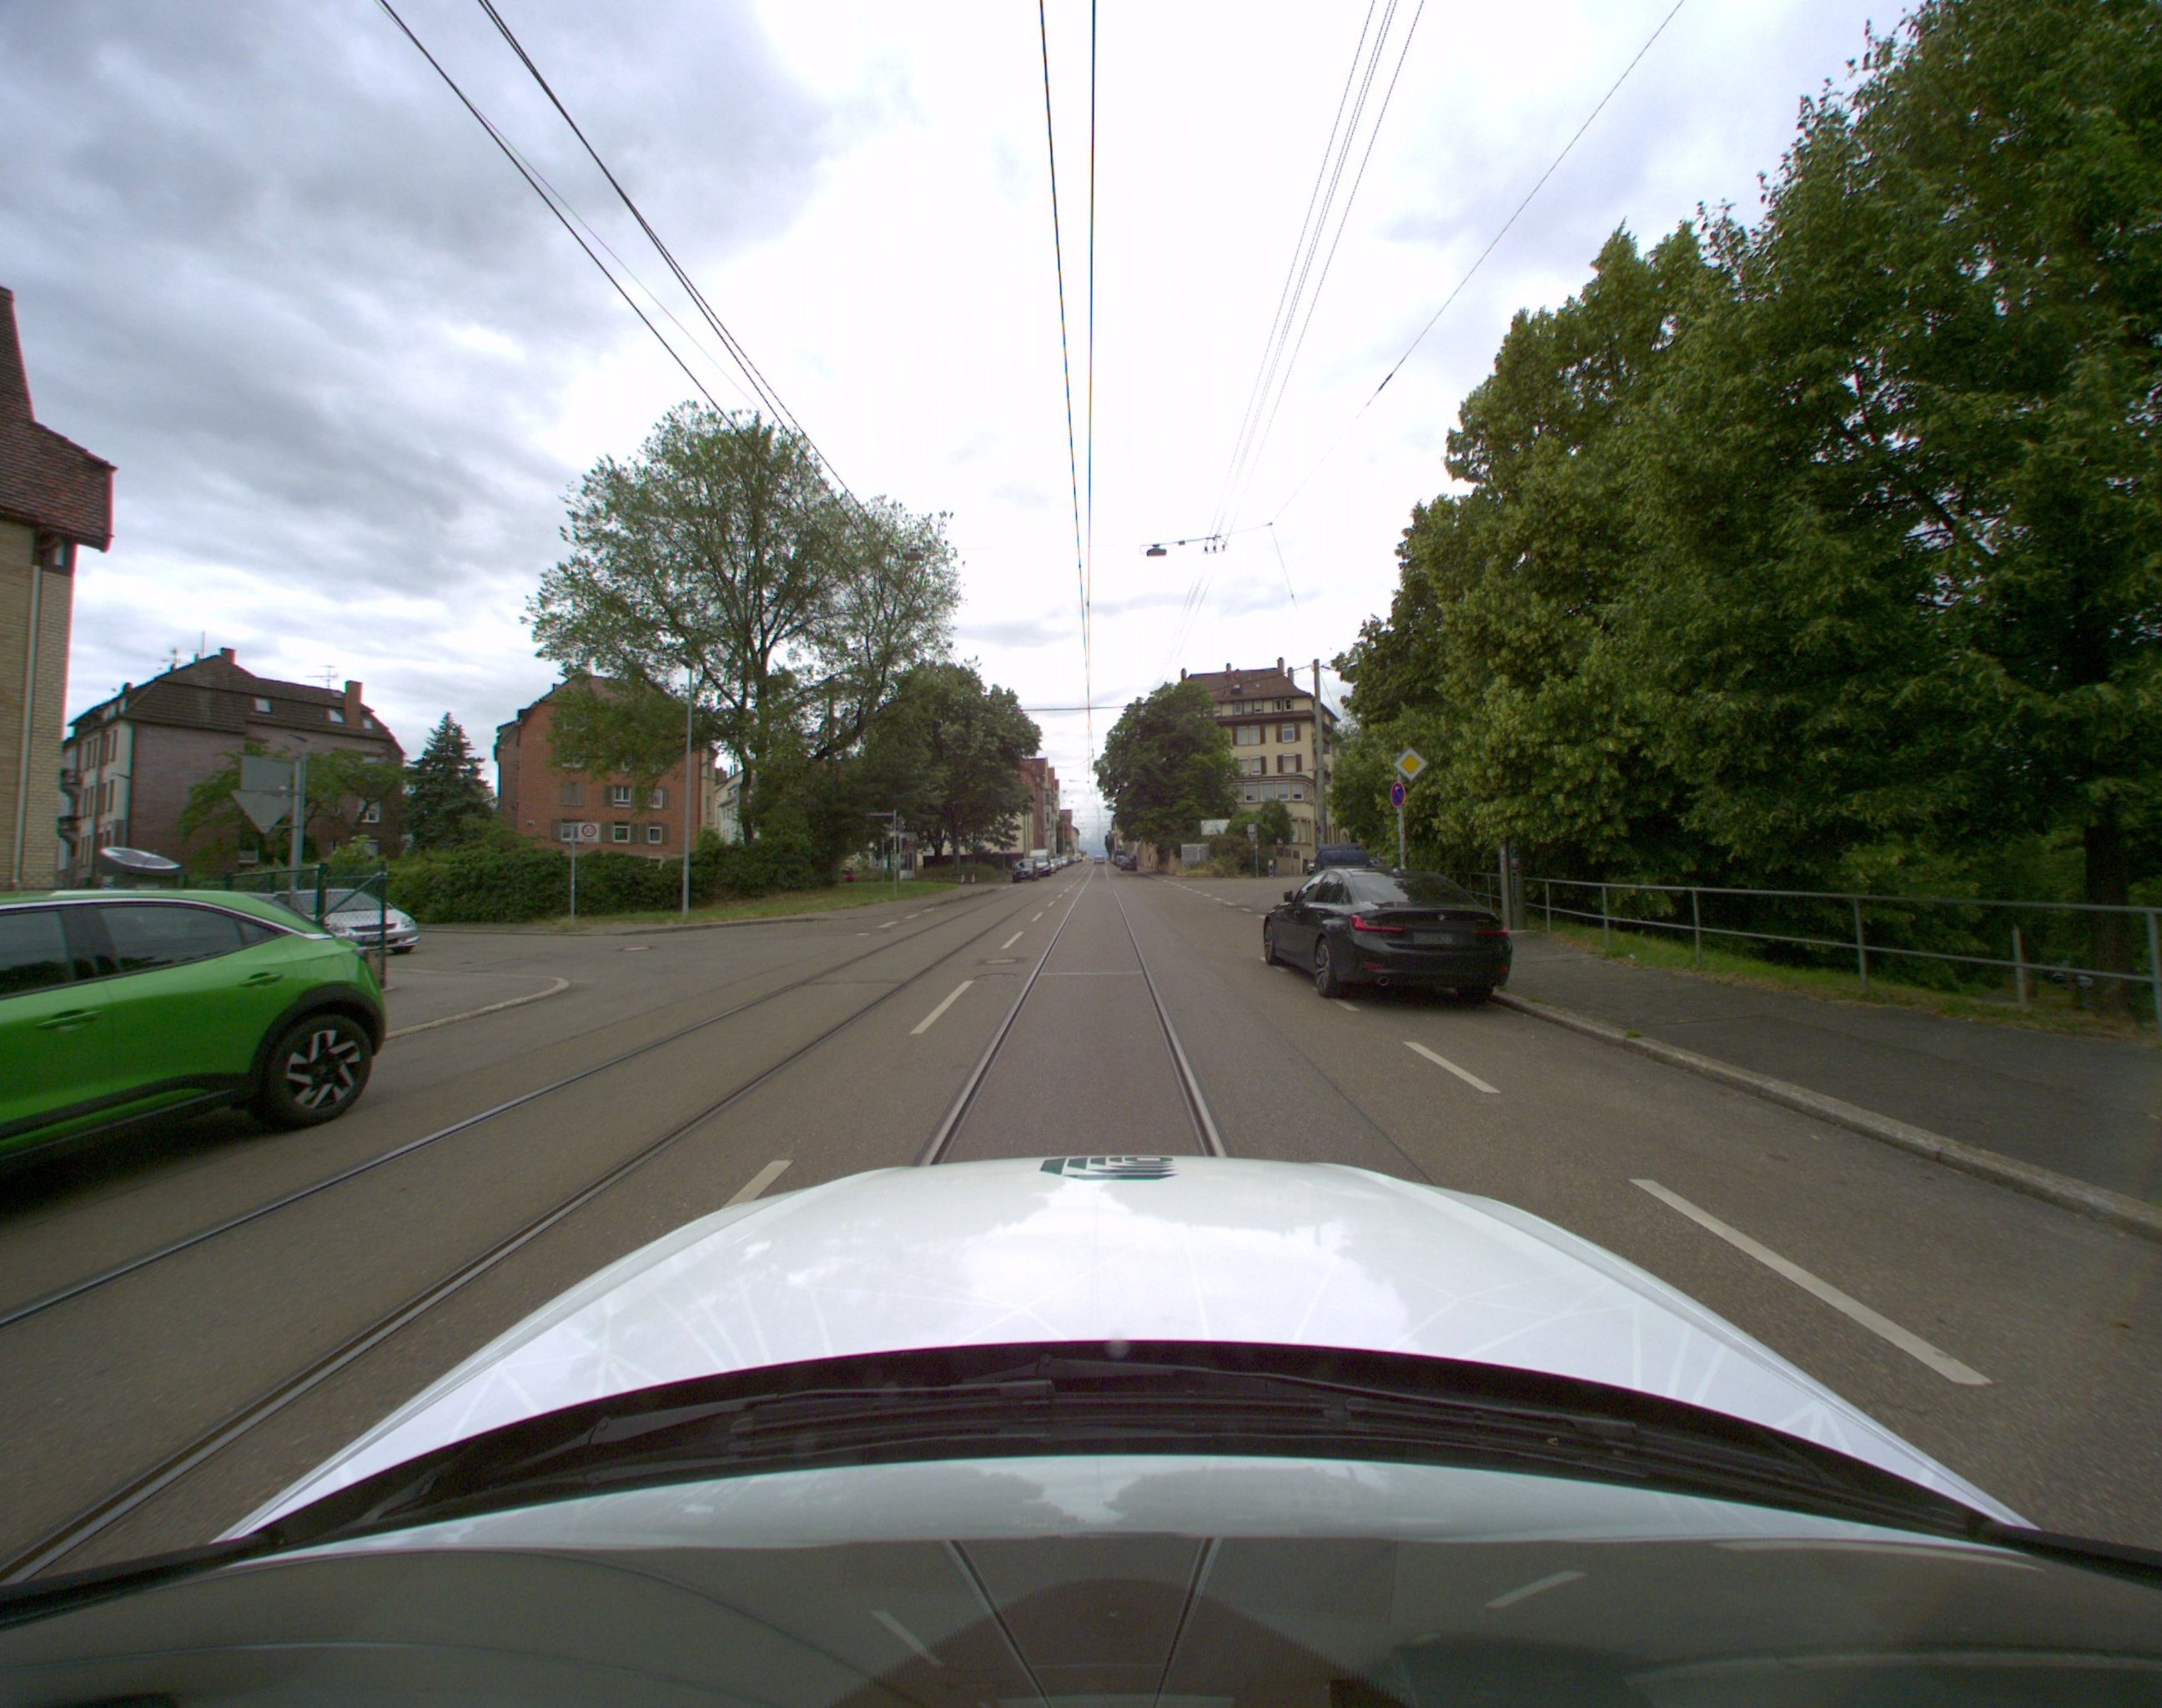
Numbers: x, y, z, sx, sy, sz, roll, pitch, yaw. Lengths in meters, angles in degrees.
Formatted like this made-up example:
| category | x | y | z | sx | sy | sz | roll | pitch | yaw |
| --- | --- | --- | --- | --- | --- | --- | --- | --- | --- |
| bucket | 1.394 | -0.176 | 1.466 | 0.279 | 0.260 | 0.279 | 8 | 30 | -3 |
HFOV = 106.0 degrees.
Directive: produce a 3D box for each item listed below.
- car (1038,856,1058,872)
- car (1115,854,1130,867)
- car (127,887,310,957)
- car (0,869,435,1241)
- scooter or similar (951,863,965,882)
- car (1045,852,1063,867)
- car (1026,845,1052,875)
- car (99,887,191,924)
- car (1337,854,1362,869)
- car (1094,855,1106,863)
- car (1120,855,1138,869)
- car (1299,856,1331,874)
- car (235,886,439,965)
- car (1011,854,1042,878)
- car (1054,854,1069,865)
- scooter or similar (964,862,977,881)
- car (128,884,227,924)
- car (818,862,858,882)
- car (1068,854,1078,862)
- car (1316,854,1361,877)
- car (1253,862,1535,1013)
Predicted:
| category | x | y | z | sx | sy | sz | roll | pitch | yaw |
| --- | --- | --- | --- | --- | --- | --- | --- | --- | --- |
| car | -3.607 | 1.102 | 89.206 | 1.988 | 1.600 | 4.310 | -1 | -1 | -1 |
| car | 5.793 | 0.890 | 113.803 | 1.986 | 1.717 | 4.001 | -2 | -1 | 2 |
| car | -20.964 | 1.574 | 19.797 | 3.949 | 1.494 | 2.012 | -1 | -1 | 27 |
| car | -5.580 | 0.928 | 3.766 | 1.717 | 1.580 | 4.182 | -2 | 0 | 1 |
| scooter or similar | -8.997 | 1.341 | 59.471 | 0.688 | 1.339 | 1.640 | -1 | -1 | 2 |
| car | -3.456 | 0.710 | 106.094 | 1.985 | 1.812 | 4.315 | -1 | -1 | 3 |
| car | -4.019 | 0.631 | 78.898 | 2.224 | 2.764 | 5.797 | -1 | -1 | -1 |
| car | -42.046 | 2.283 | 36.581 | 3.949 | 1.494 | 1.956 | -1 | -1 | 29 |
| car | 28.340 | 0.790 | 85.903 | 1.975 | 1.618 | 4.023 | -1 | -1 | 26 |
| car | 3.298 | 0.906 | 143.474 | 1.986 | 1.498 | 4.312 | -1 | -1 | 1 |
| car | 5.449 | 0.945 | 93.327 | 1.986 | 1.530 | 4.314 | -1 | -1 | 2 |
| car | 20.741 | 0.962 | 71.999 | 1.975 | 1.552 | 4.023 | -1 | -1 | 26 |
| car | -15.633 | 1.416 | 17.114 | 3.949 | 1.418 | 1.902 | -1 | -1 | 27 |
| car | -4.283 | 0.942 | 64.402 | 1.985 | 1.808 | 4.002 | -1 | -1 | 3 |
| car | -2.911 | 0.888 | 122.731 | 1.917 | 1.601 | 4.001 | -1 | -1 | 1 |
| scooter or similar | -8.047 | 1.291 | 59.441 | 0.688 | 1.339 | 1.640 | -1 | -1 | 2 |
| car | -37.507 | 2.026 | 33.798 | 3.828 | 1.494 | 1.956 | -1 | -1 | 29 |
| car | -20.083 | 1.491 | 67.202 | 2.009 | 1.596 | 3.956 | 0 | -1 | -36 |
| car | -1.615 | 0.862 | 162.255 | 1.986 | 1.601 | 4.000 | -1 | -1 | 1 |
| car | 17.196 | 0.754 | 54.279 | 1.974 | 1.479 | 4.491 | -1 | -1 | 30 |
| car | 3.571 | 0.843 | 10.383 | 1.821 | 1.430 | 4.848 | 1 | 0 | 1 |
